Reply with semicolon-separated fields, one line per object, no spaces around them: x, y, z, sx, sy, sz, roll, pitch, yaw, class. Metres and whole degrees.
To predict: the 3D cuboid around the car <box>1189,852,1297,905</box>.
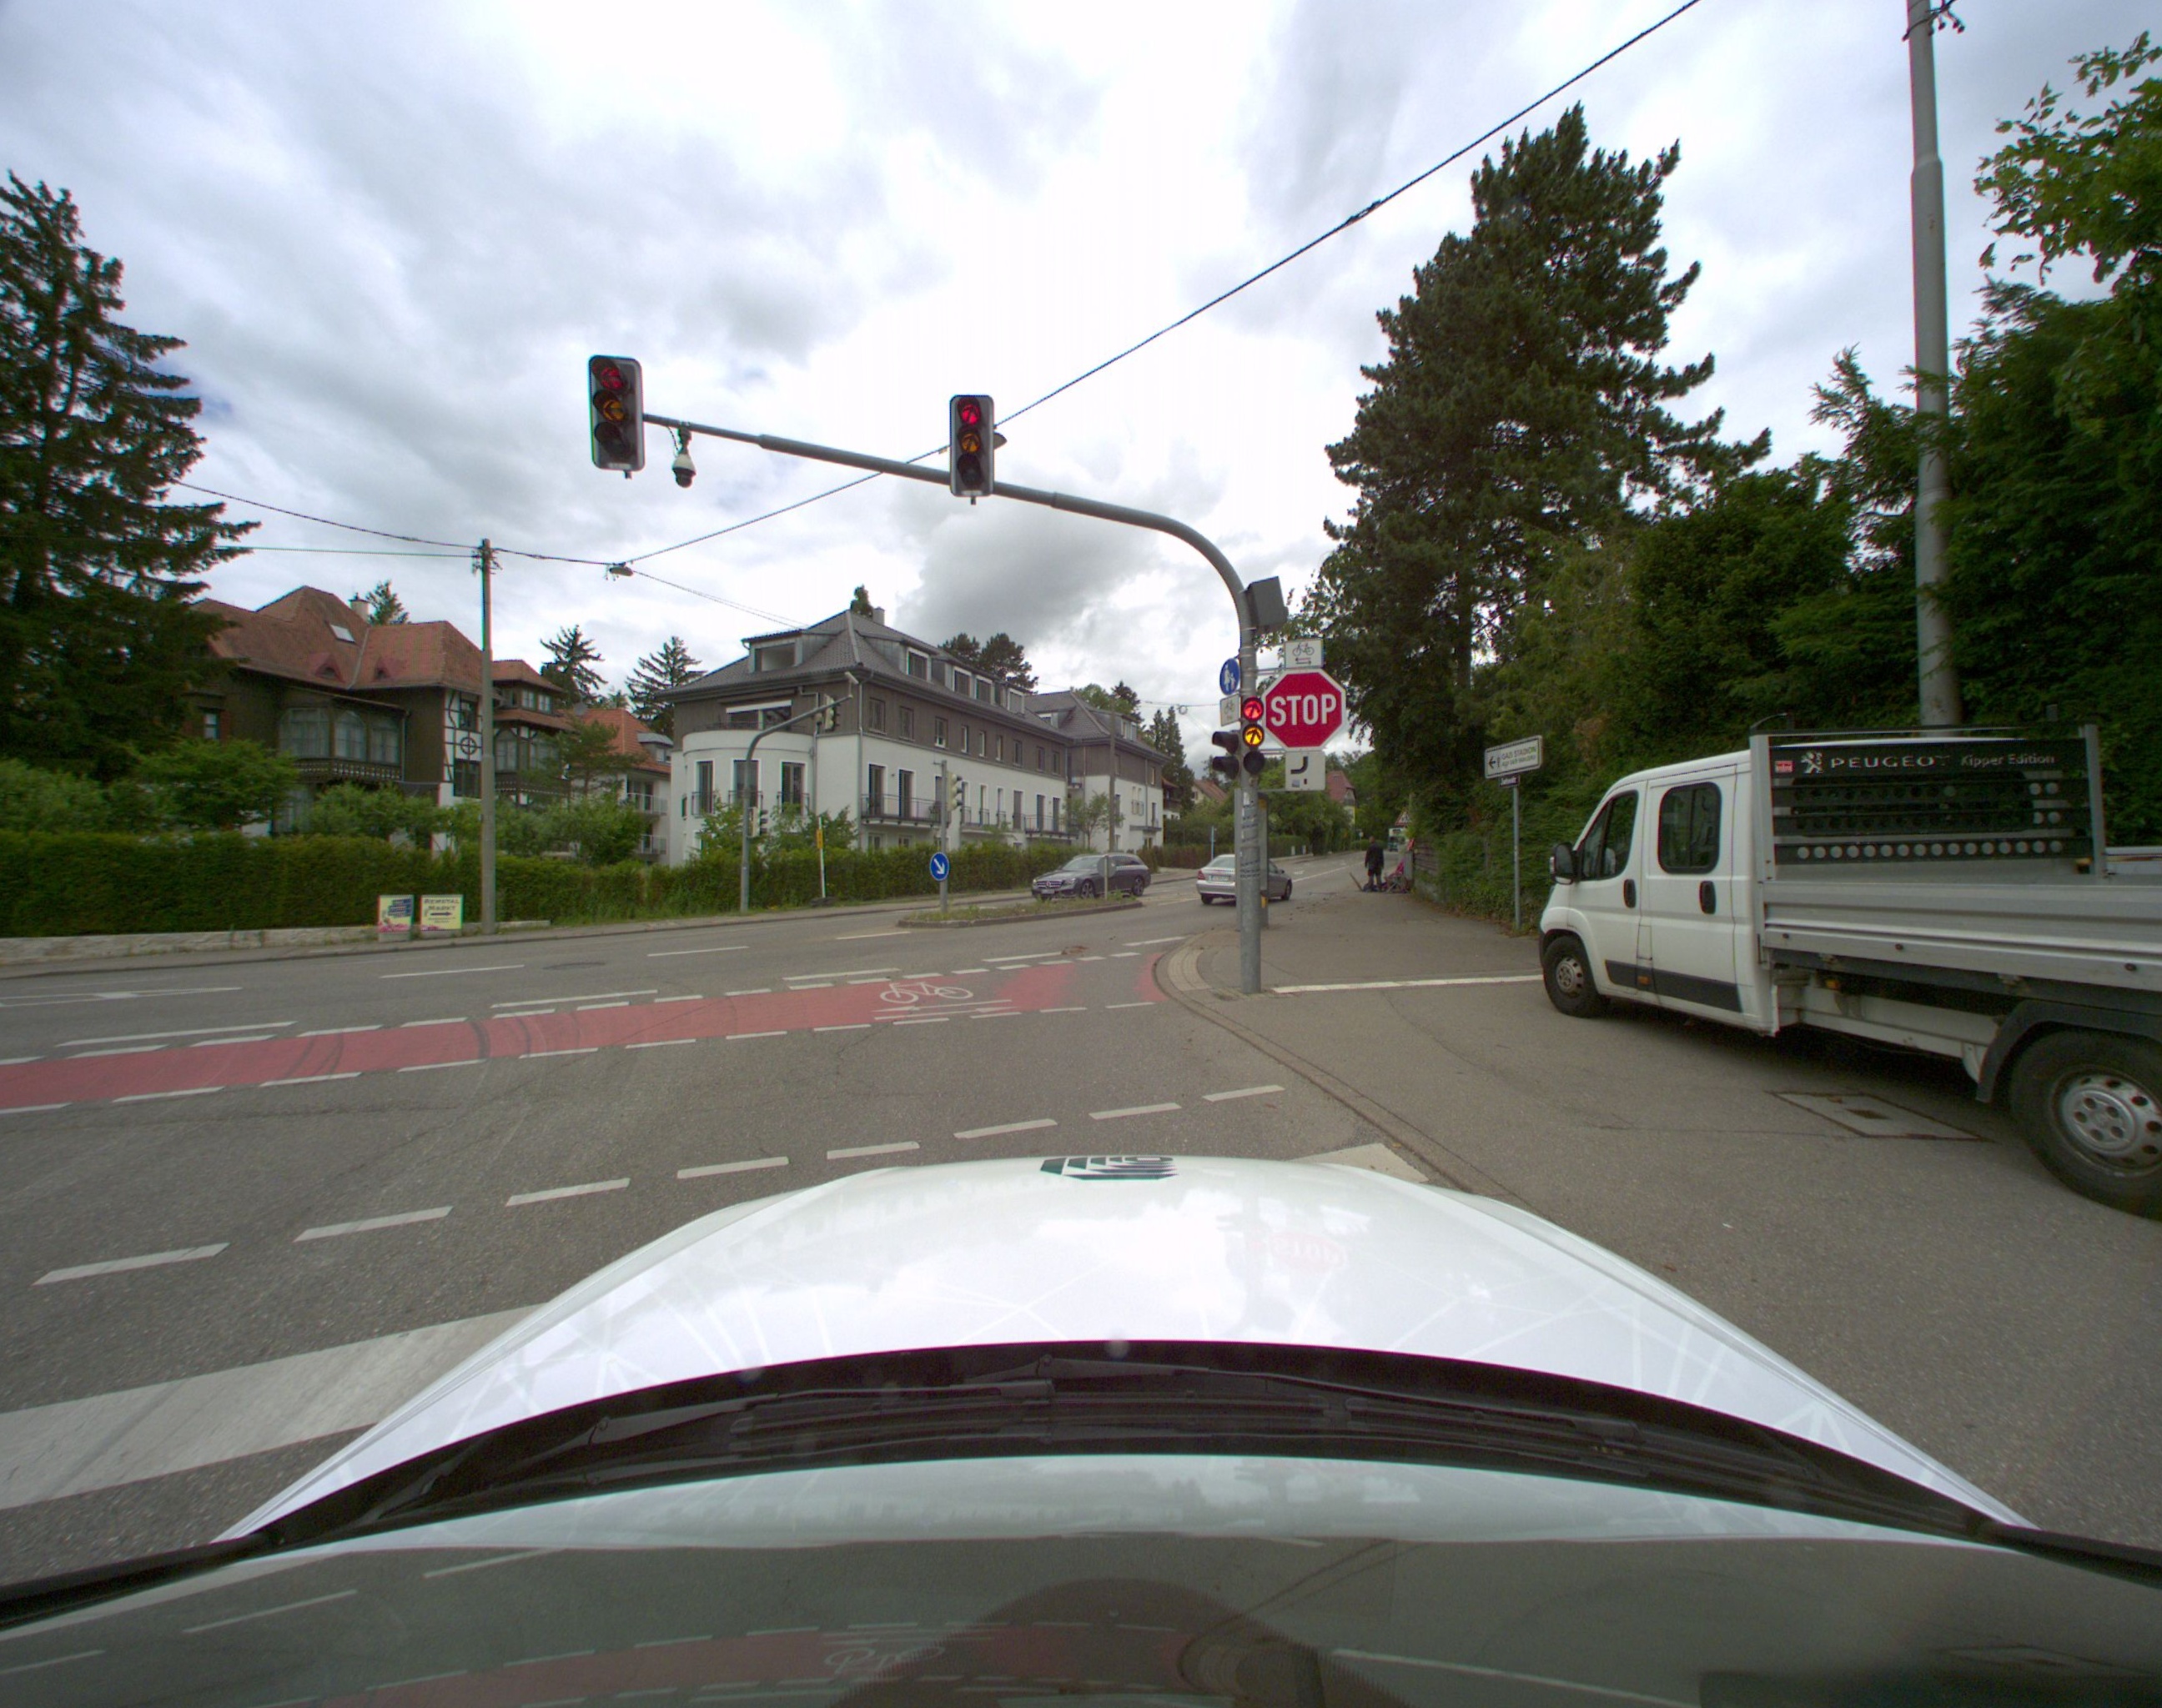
4.882;0.675;24.065;1.780;1.415;4.363;-1;-1;30;car

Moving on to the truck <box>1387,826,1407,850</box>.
48.940;-2.444;125.979;2.754;3.461;7.533;-1;-1;21;truck

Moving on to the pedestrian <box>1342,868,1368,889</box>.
9.528;0.862;28.321;0.646;0.696;0.581;-1;0;-18;pedestrian

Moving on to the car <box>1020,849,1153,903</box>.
0.294;0.651;26.242;1.807;1.485;4.778;-2;0;36;car

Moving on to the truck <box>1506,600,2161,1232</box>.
5.359;0.241;5.198;2.386;2.351;6.195;0;0;4;truck

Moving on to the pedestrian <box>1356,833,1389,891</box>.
9.755;0.256;27.243;0.842;1.923;0.802;-1;0;4;pedestrian
